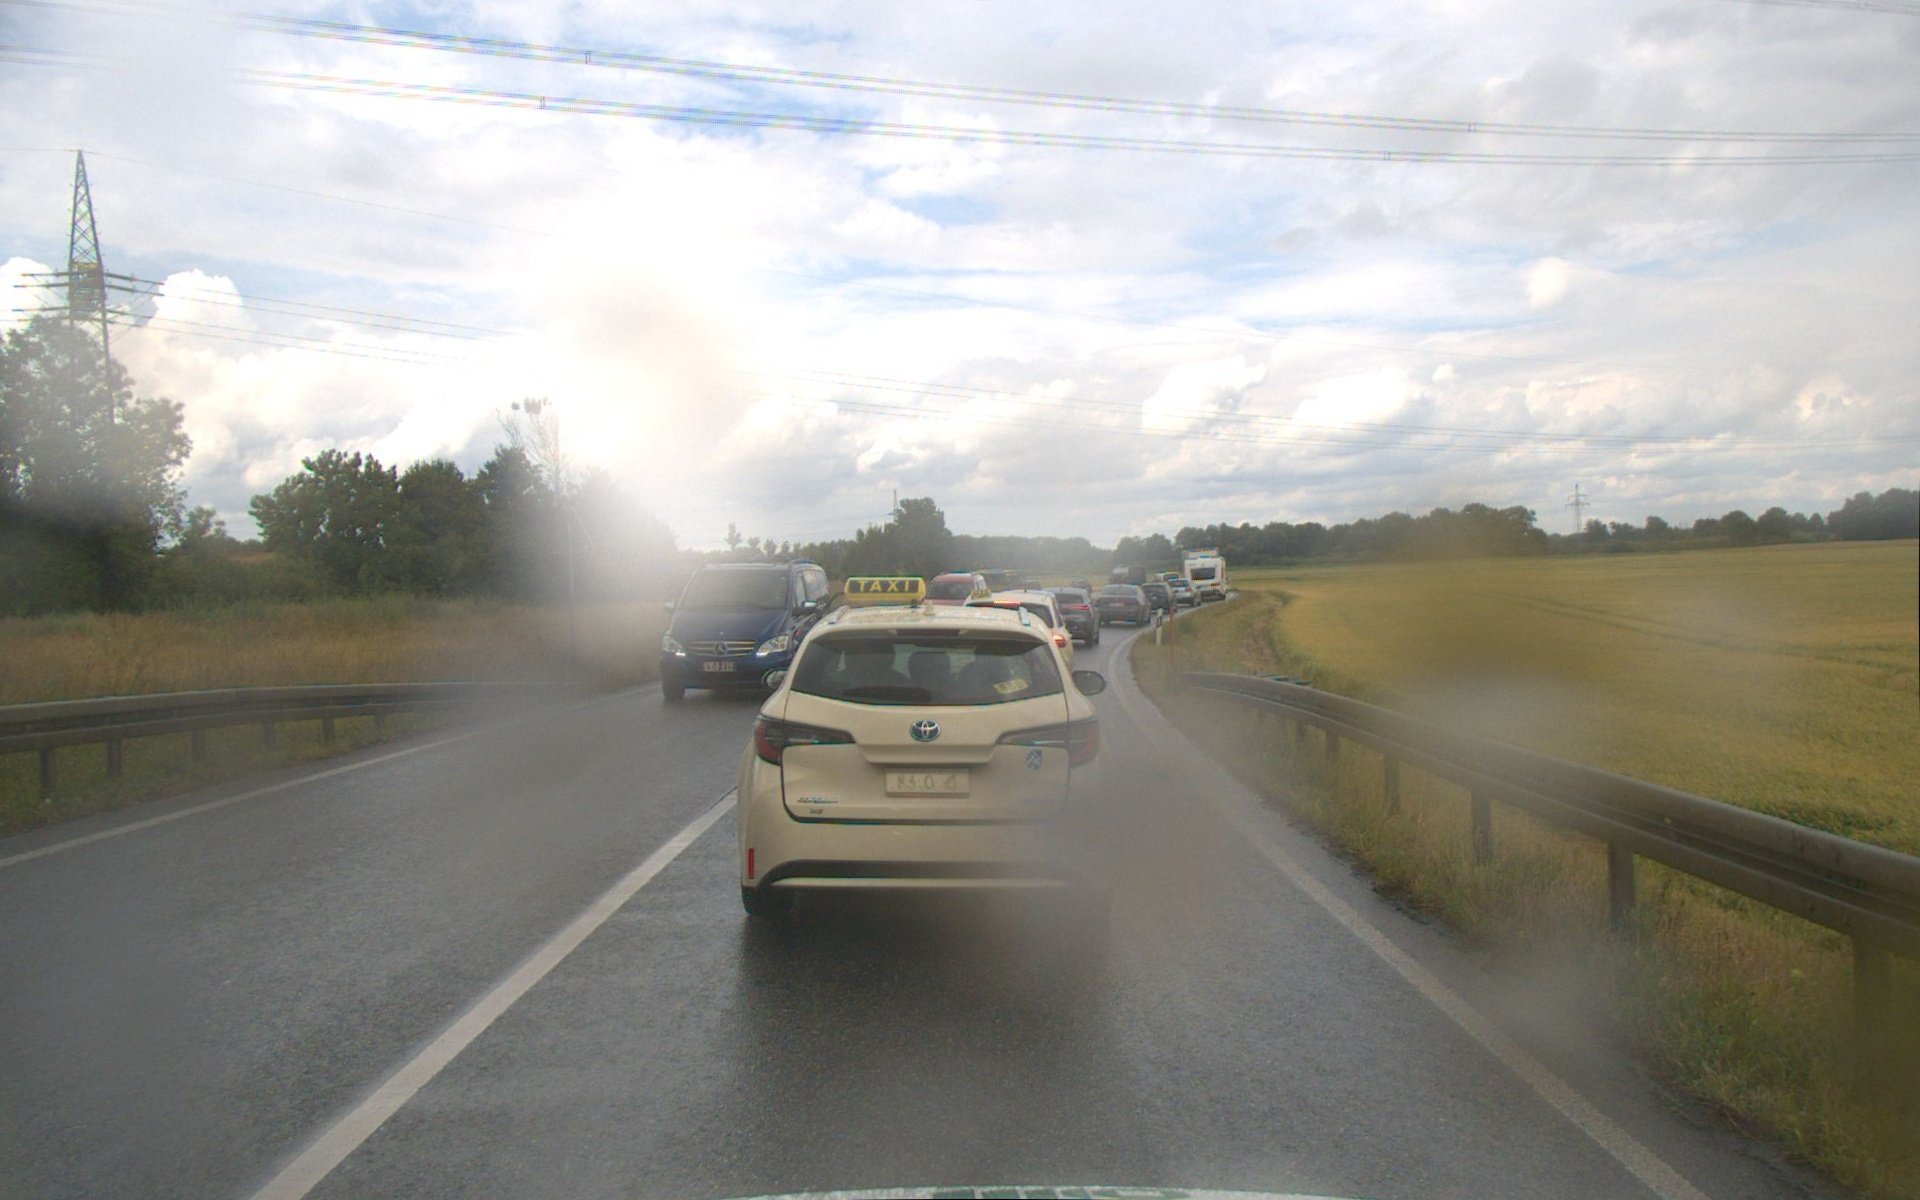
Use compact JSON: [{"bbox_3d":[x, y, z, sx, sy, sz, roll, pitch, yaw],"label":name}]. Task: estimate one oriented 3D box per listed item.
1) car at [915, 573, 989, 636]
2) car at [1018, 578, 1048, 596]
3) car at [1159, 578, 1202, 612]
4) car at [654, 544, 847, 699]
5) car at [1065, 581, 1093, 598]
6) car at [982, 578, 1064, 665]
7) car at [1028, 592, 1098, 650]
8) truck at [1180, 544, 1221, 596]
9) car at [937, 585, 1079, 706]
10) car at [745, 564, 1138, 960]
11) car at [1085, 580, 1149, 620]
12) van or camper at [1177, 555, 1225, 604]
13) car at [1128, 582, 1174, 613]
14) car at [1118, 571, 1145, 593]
[{"bbox_3d":[-0.212,0.142,51.398,1.763,1.883,4.523,0,0,7],"label":"car"},{"bbox_3d":[8.560,-1.485,195.225,1.887,2.049,4.098,1,0,-25],"label":"car"},{"bbox_3d":[11.963,-0.254,89.566,1.918,1.759,3.741,1,0,14],"label":"car"},{"bbox_3d":[-2.972,0.301,24.542,1.921,2.049,4.863,1,0,4],"label":"car"},{"bbox_3d":[13.112,-1.154,182.793,1.960,1.798,4.092,1,0,-14],"label":"car"},{"bbox_3d":[1.366,0.438,34.604,1.579,1.688,3.740,1,0,4],"label":"car"},{"bbox_3d":[2.769,0.551,43.912,1.578,1.438,3.741,1,0,8],"label":"car"},{"bbox_3d":[19.234,-2.346,132.566,3.060,3.919,7.391,1,0,7],"label":"truck"},{"bbox_3d":[0.790,0.573,23.790,1.802,1.518,4.611,1,1,4],"label":"car"},{"bbox_3d":[-0.089,0.670,8.600,1.580,1.589,3.738,1,0,-1],"label":"car"},{"bbox_3d":[5.936,0.013,62.081,1.918,1.438,4.396,1,0,12],"label":"car"},{"bbox_3d":[15.200,-1.296,104.046,2.482,2.946,6.749,1,1,13],"label":"van or camper"},{"bbox_3d":[9.088,-0.102,78.592,1.786,1.438,3.741,1,0,12],"label":"car"},{"bbox_3d":[17.145,-1.796,165.647,1.707,2.049,4.139,1,0,-9],"label":"car"}]
